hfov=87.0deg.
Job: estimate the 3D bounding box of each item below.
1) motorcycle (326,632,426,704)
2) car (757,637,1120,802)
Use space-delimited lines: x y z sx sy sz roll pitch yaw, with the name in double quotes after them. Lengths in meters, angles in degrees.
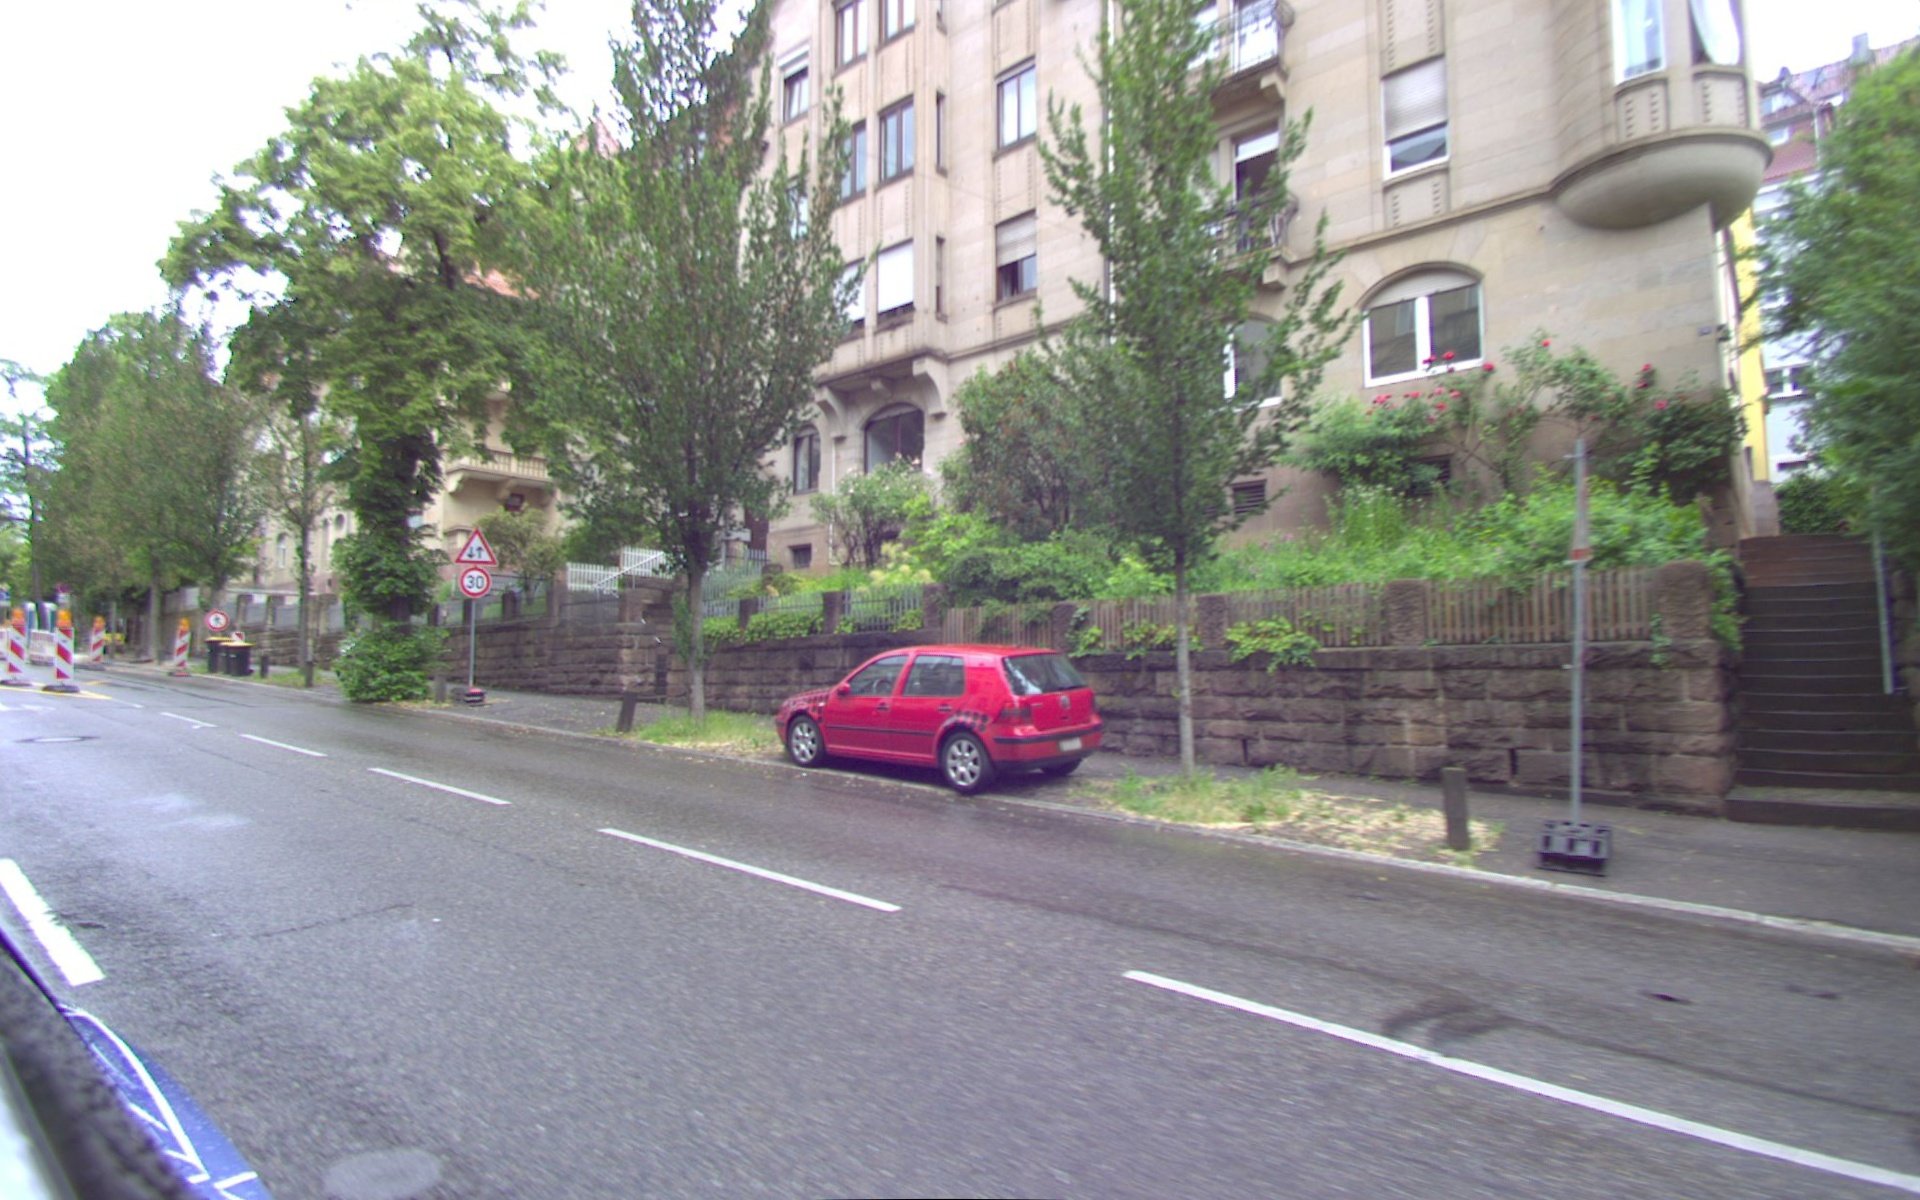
-12.506 1.410 21.625 3.058 1.425 0.792 -1 -1 38 "motorcycle"
-0.368 1.176 11.296 4.062 1.462 1.596 -1 -2 42 "car"
